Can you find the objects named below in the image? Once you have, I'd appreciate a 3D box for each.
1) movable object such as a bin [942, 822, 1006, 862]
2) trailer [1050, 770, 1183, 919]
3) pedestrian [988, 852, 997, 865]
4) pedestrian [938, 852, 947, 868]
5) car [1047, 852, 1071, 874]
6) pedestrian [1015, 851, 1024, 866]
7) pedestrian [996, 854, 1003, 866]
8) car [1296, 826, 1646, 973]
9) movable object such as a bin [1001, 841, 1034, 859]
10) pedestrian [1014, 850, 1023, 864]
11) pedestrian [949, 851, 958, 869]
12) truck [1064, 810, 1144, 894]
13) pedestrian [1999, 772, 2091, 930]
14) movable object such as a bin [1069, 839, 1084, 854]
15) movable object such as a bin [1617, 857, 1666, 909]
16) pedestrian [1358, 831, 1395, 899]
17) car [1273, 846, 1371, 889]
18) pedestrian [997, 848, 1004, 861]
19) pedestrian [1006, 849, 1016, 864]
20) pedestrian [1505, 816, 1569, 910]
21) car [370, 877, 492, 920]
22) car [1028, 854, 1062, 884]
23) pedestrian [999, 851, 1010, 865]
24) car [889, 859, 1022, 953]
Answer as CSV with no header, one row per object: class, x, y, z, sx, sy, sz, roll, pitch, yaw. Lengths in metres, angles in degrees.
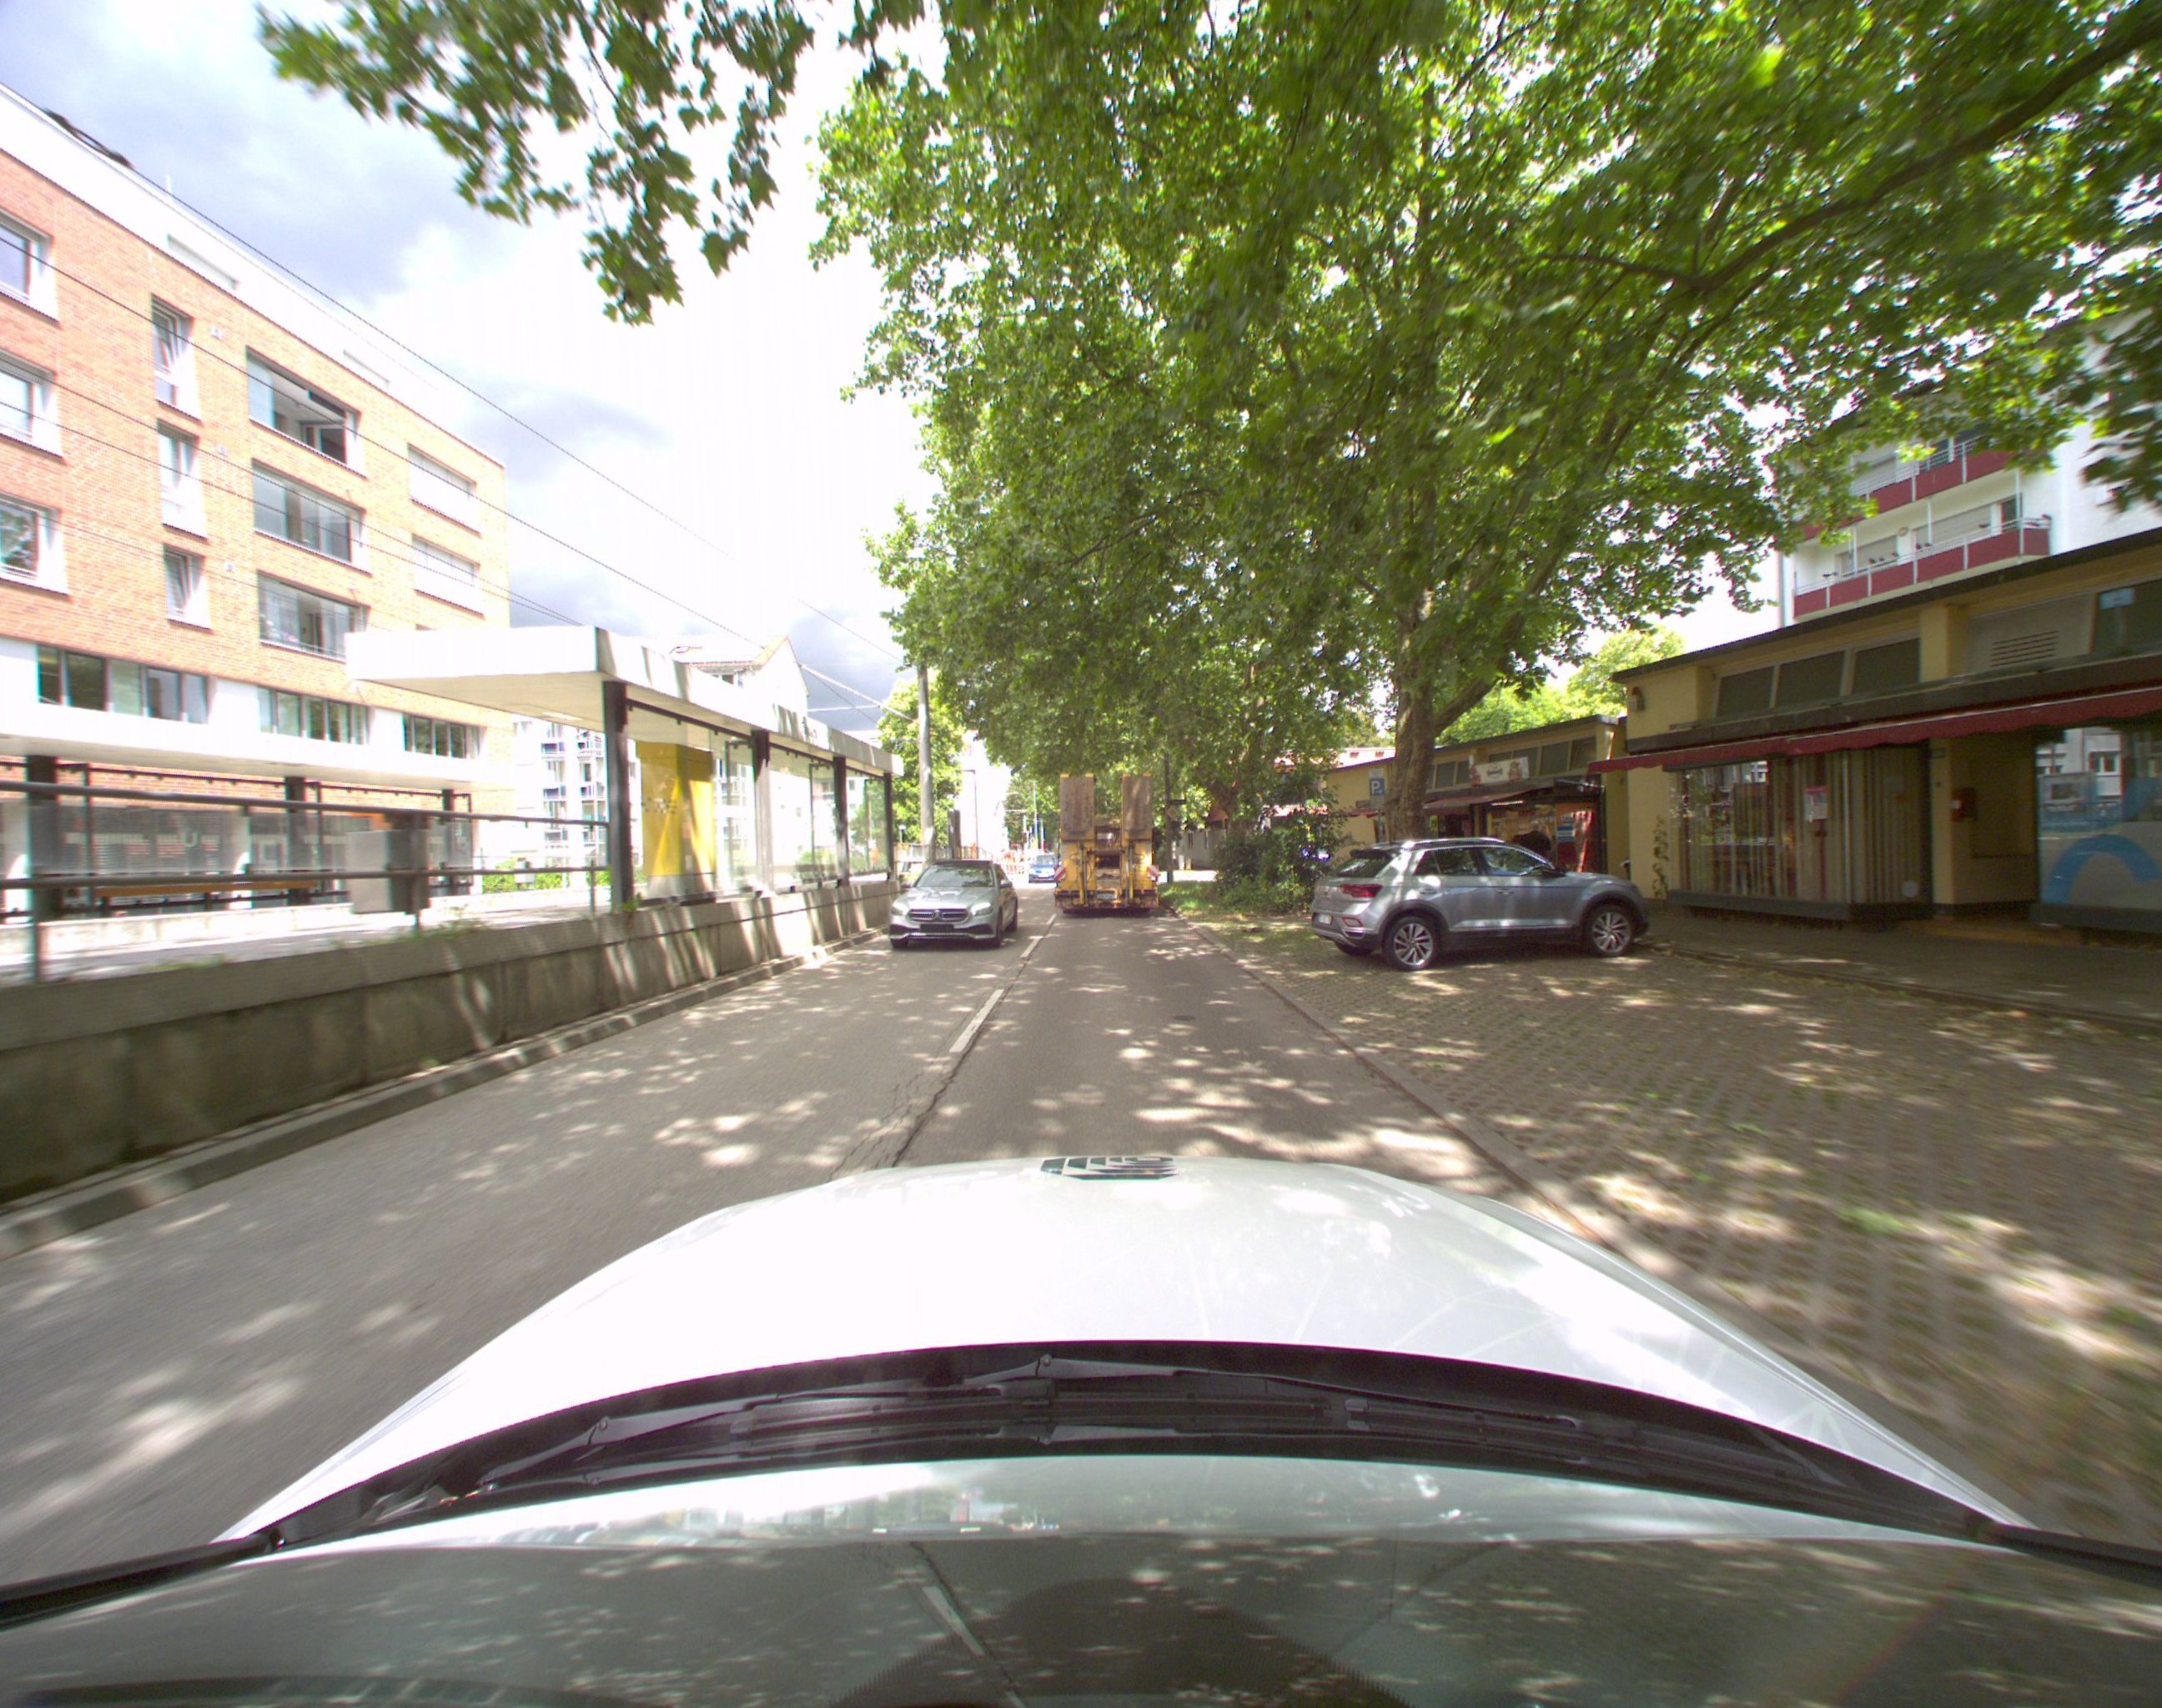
movable object such as a bin,-15.481,-1.660,117.458,9.116,5.414,2.680,-1,0,27
trailer,0.854,-0.246,25.158,3.144,3.552,11.094,-1,0,0
pedestrian,-11.313,0.609,103.766,0.891,1.645,0.891,-1,0,-30
pedestrian,-13.502,0.581,79.451,0.729,1.625,0.867,-1,0,1
car,-1.676,0.666,63.348,1.747,1.633,4.119,0,0,1
pedestrian,-7.877,0.562,103.640,0.890,1.867,0.830,-1,0,-28
pedestrian,-10.996,0.787,109.903,0.885,1.645,0.834,-1,0,-10
car,4.986,0.537,10.683,3.824,1.562,1.616,-3,0,-6
movable object such as a bin,-9.530,-0.608,121.967,4.326,2.629,2.234,-1,0,27
pedestrian,-8.157,0.394,106.063,0.877,1.867,0.842,-1,0,30
pedestrian,-12.517,0.547,79.736,0.697,1.718,0.867,-1,0,1
truck,0.835,-0.093,34.624,2.980,3.135,7.885,-1,0,-1
pedestrian,10.755,-0.036,9.089,0.543,1.704,0.372,-3,0,-6
movable object such as a bin,-0.574,-1.033,109.301,1.389,2.013,2.565,-1,0,12
movable object such as a bin,10.353,0.520,15.051,0.436,0.914,0.586,-3,0,-8
pedestrian,7.497,0.277,20.671,0.621,1.676,0.772,-2,0,1
car,11.949,0.647,40.530,4.176,1.681,2.008,-6,1,-7
pedestrian,-11.654,0.073,117.918,0.835,1.867,0.885,-1,0,-11
pedestrian,-8.804,0.312,102.261,0.878,1.760,0.841,-1,0,20
pedestrian,8.692,0.171,15.552,0.757,1.724,0.658,-3,0,-4
car,-28.177,1.898,35.479,1.887,1.552,4.004,-3,0,3
car,-1.977,0.823,45.763,1.690,1.564,3.861,-1,0,1
pedestrian,-9.754,0.540,103.978,1.117,1.715,0.877,-1,0,-43
car,-2.188,0.845,15.379,1.756,1.481,4.576,0,0,0
